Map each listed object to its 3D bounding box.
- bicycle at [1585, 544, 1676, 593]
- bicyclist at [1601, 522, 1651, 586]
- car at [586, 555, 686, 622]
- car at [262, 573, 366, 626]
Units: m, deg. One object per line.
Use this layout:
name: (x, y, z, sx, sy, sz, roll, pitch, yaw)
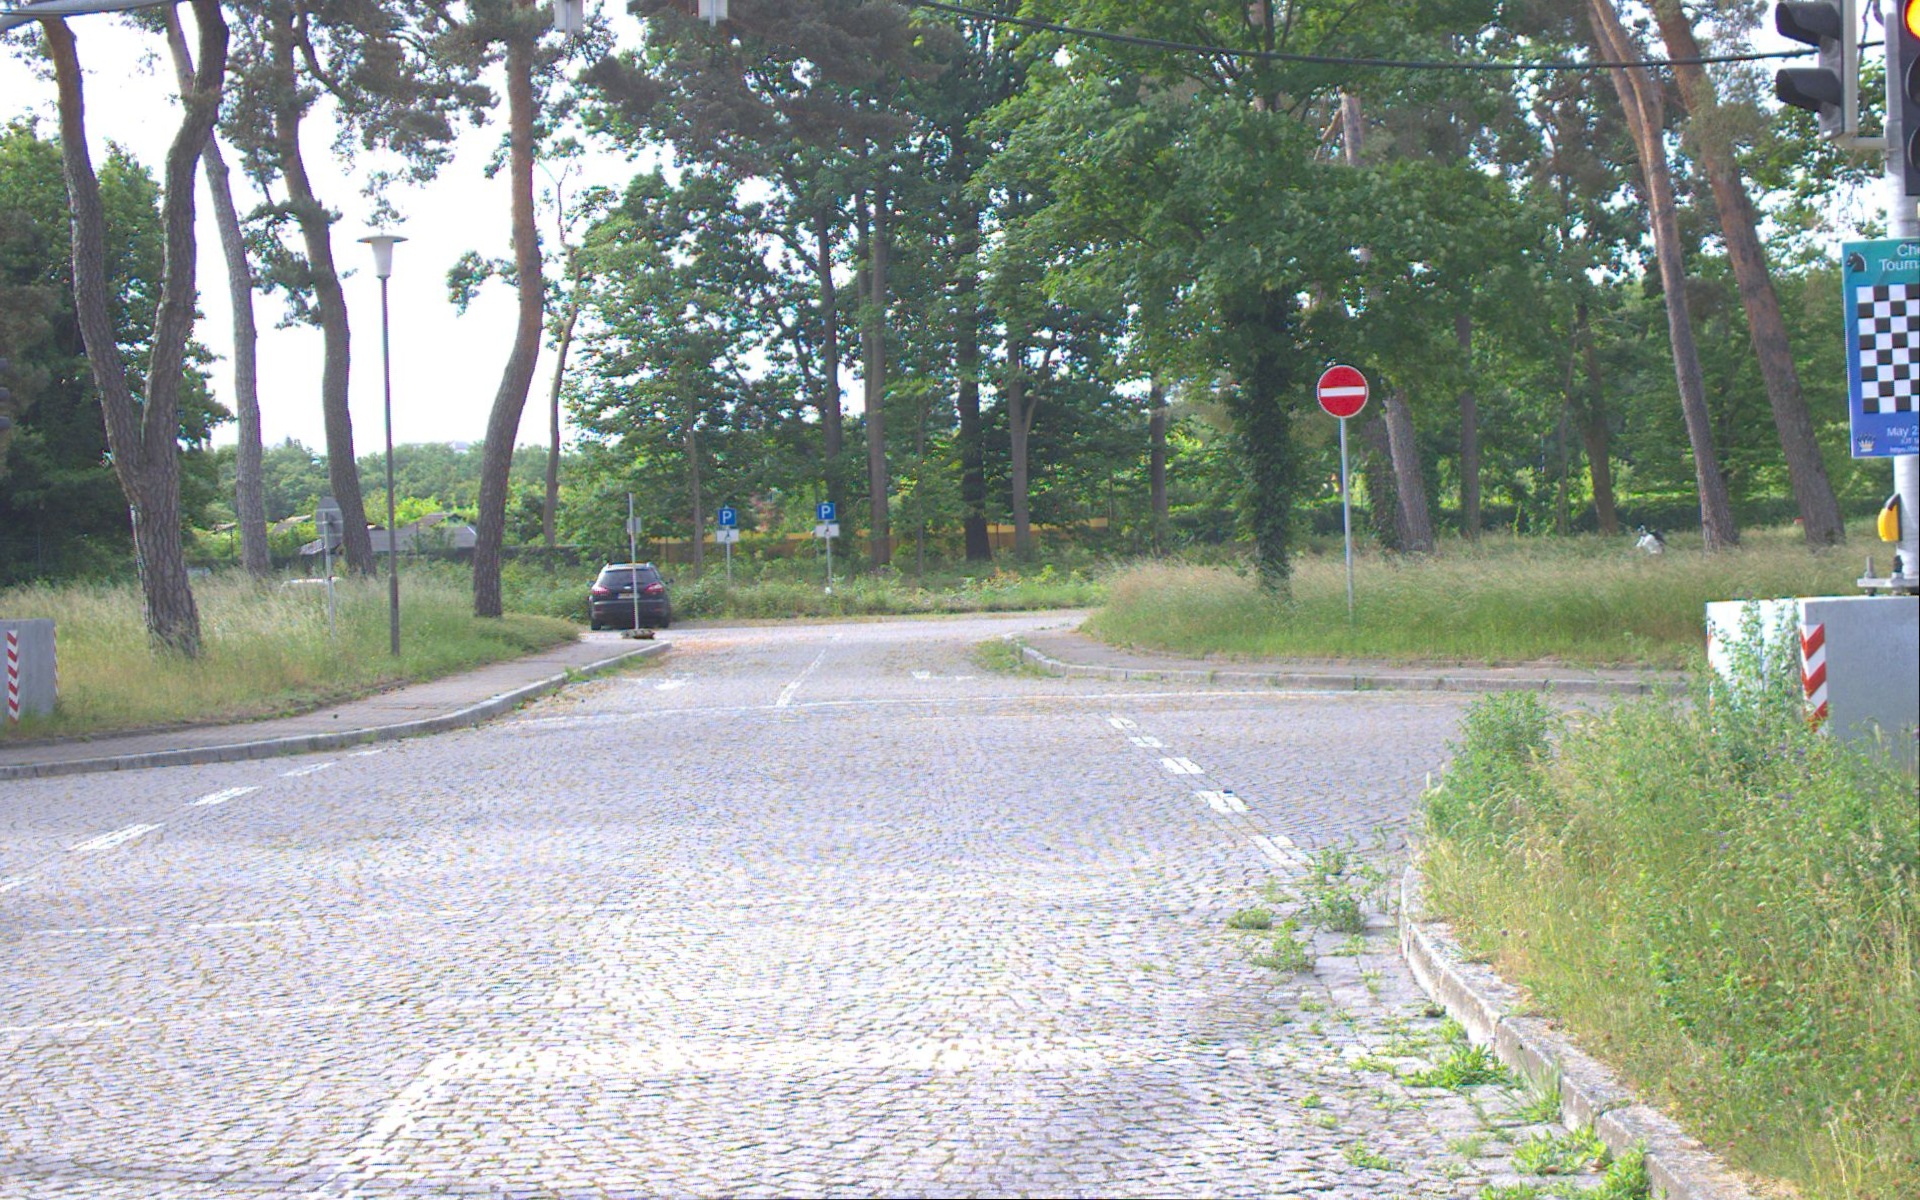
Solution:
bicycle: (16.335, -0.771, 83.776, 1.986, 1.091, 0.810, -2, 1, -4)
bicyclist: (16.223, -1.123, 83.773, 0.974, 1.505, 0.807, -2, 1, -4)
car: (-7.618, -0.289, 81.161, 1.993, 1.503, 4.000, 0, 1, 0)
car: (-15.421, -0.032, 82.197, 1.689, 1.152, 4.000, -2, 1, 0)
